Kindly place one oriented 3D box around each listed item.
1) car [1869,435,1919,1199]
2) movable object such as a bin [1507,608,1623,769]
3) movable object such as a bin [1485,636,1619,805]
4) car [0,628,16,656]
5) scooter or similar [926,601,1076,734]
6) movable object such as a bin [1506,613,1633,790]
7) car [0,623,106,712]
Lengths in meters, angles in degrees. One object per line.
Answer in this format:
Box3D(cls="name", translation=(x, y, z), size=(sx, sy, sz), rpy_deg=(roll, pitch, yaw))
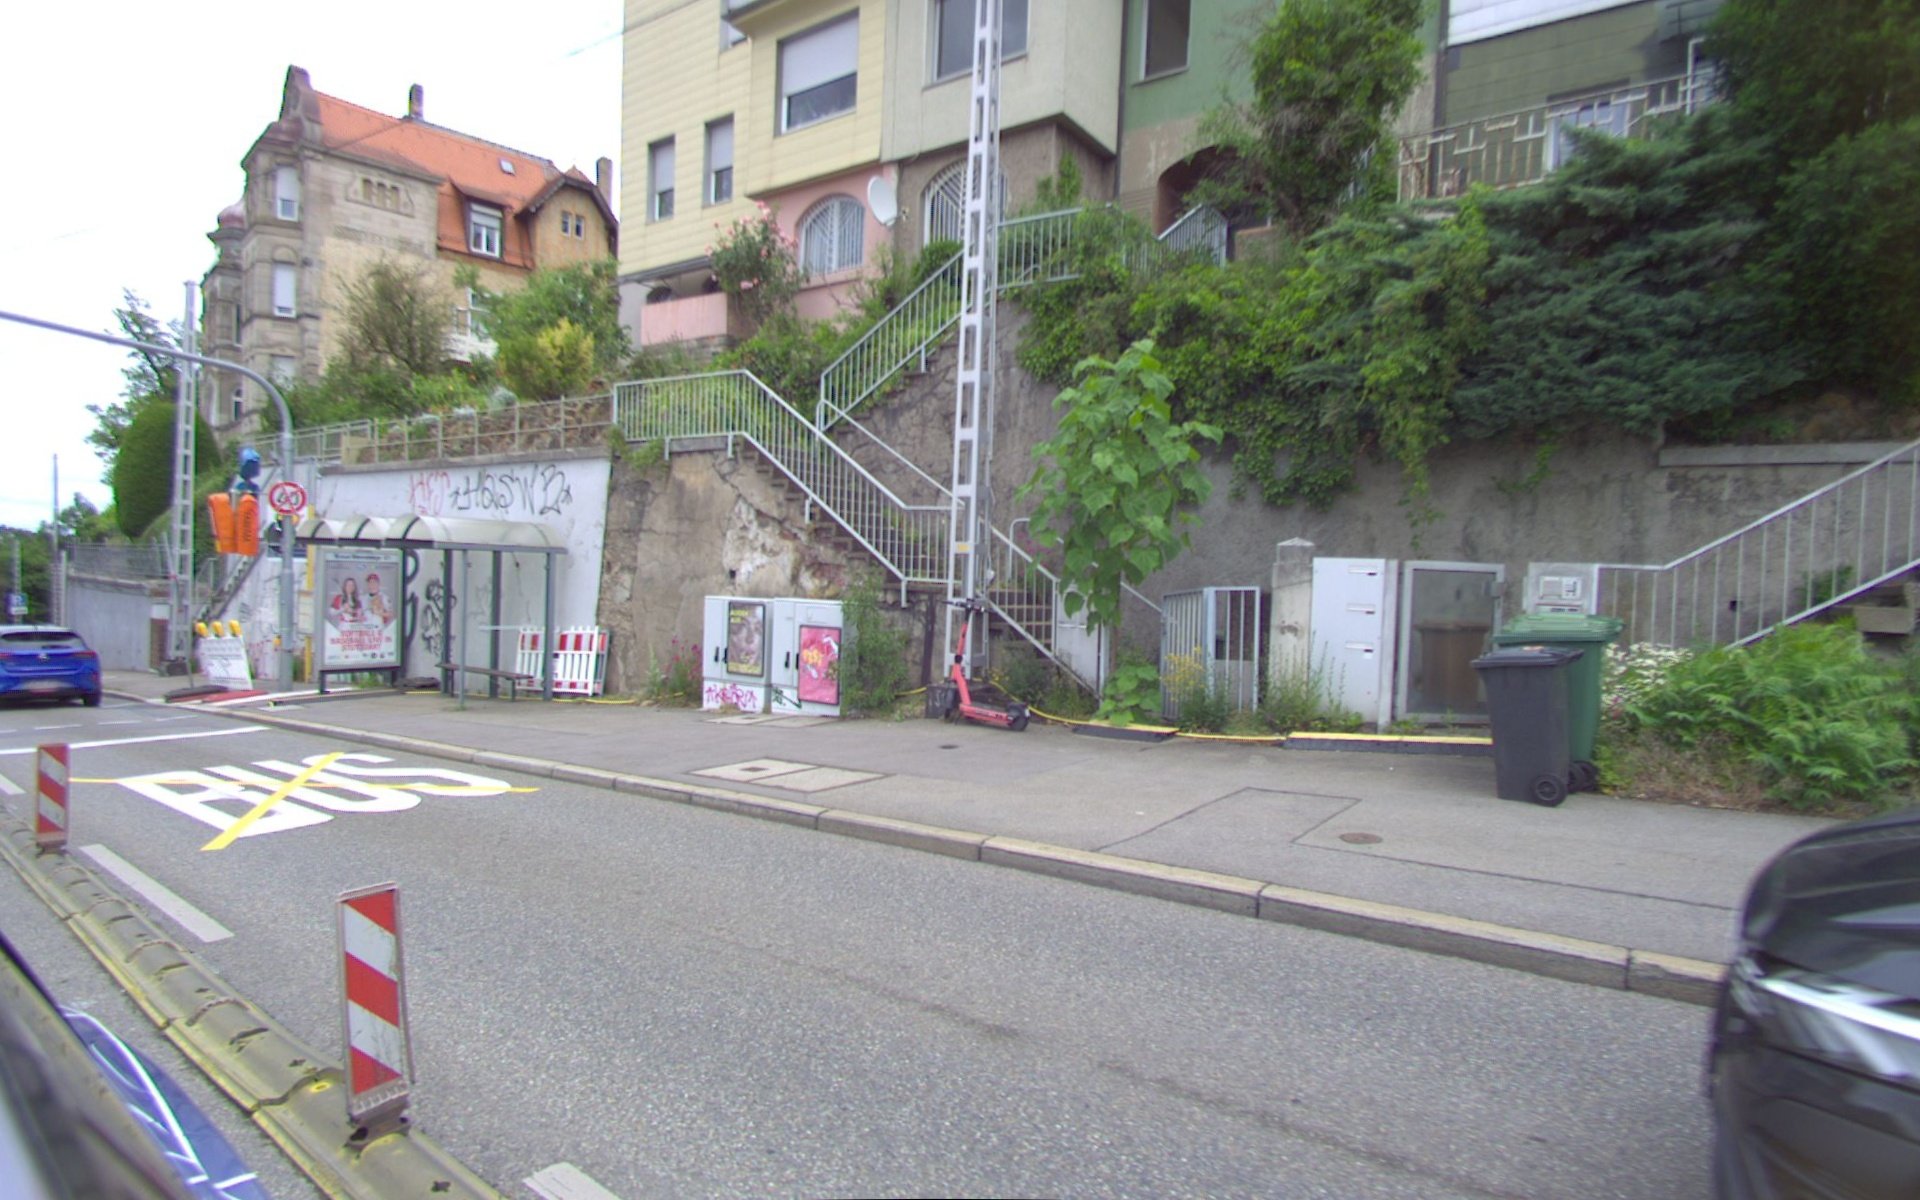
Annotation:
Box3D(cls="car", translation=(3.319, 0.520, 0.766), size=(3.816, 1.634, 1.797), rpy_deg=(-1, 0, 41))
Box3D(cls="movable object such as a bin", translation=(4.280, 0.601, 7.165), size=(0.623, 1.061, 0.463), rpy_deg=(-2, 0, 39))
Box3D(cls="movable object such as a bin", translation=(3.595, 0.702, 6.152), size=(0.623, 0.941, 0.463), rpy_deg=(-2, 0, 39))
Box3D(cls="car", translation=(-50.685, 2.161, 52.770), size=(1.776, 1.383, 4.396), rpy_deg=(4, -4, -39))
Box3D(cls="scooter or similar", translation=(0.382, 0.639, 9.944), size=(1.433, 1.214, 0.455), rpy_deg=(-2, 1, 37))
Box3D(cls="movable object such as a bin", translation=(3.928, 0.624, 6.521), size=(0.623, 1.061, 0.463), rpy_deg=(-2, 0, 39))
Box3D(cls="car", translation=(-16.924, 1.145, 18.269), size=(3.818, 1.431, 1.708), rpy_deg=(-1, -1, 40))
